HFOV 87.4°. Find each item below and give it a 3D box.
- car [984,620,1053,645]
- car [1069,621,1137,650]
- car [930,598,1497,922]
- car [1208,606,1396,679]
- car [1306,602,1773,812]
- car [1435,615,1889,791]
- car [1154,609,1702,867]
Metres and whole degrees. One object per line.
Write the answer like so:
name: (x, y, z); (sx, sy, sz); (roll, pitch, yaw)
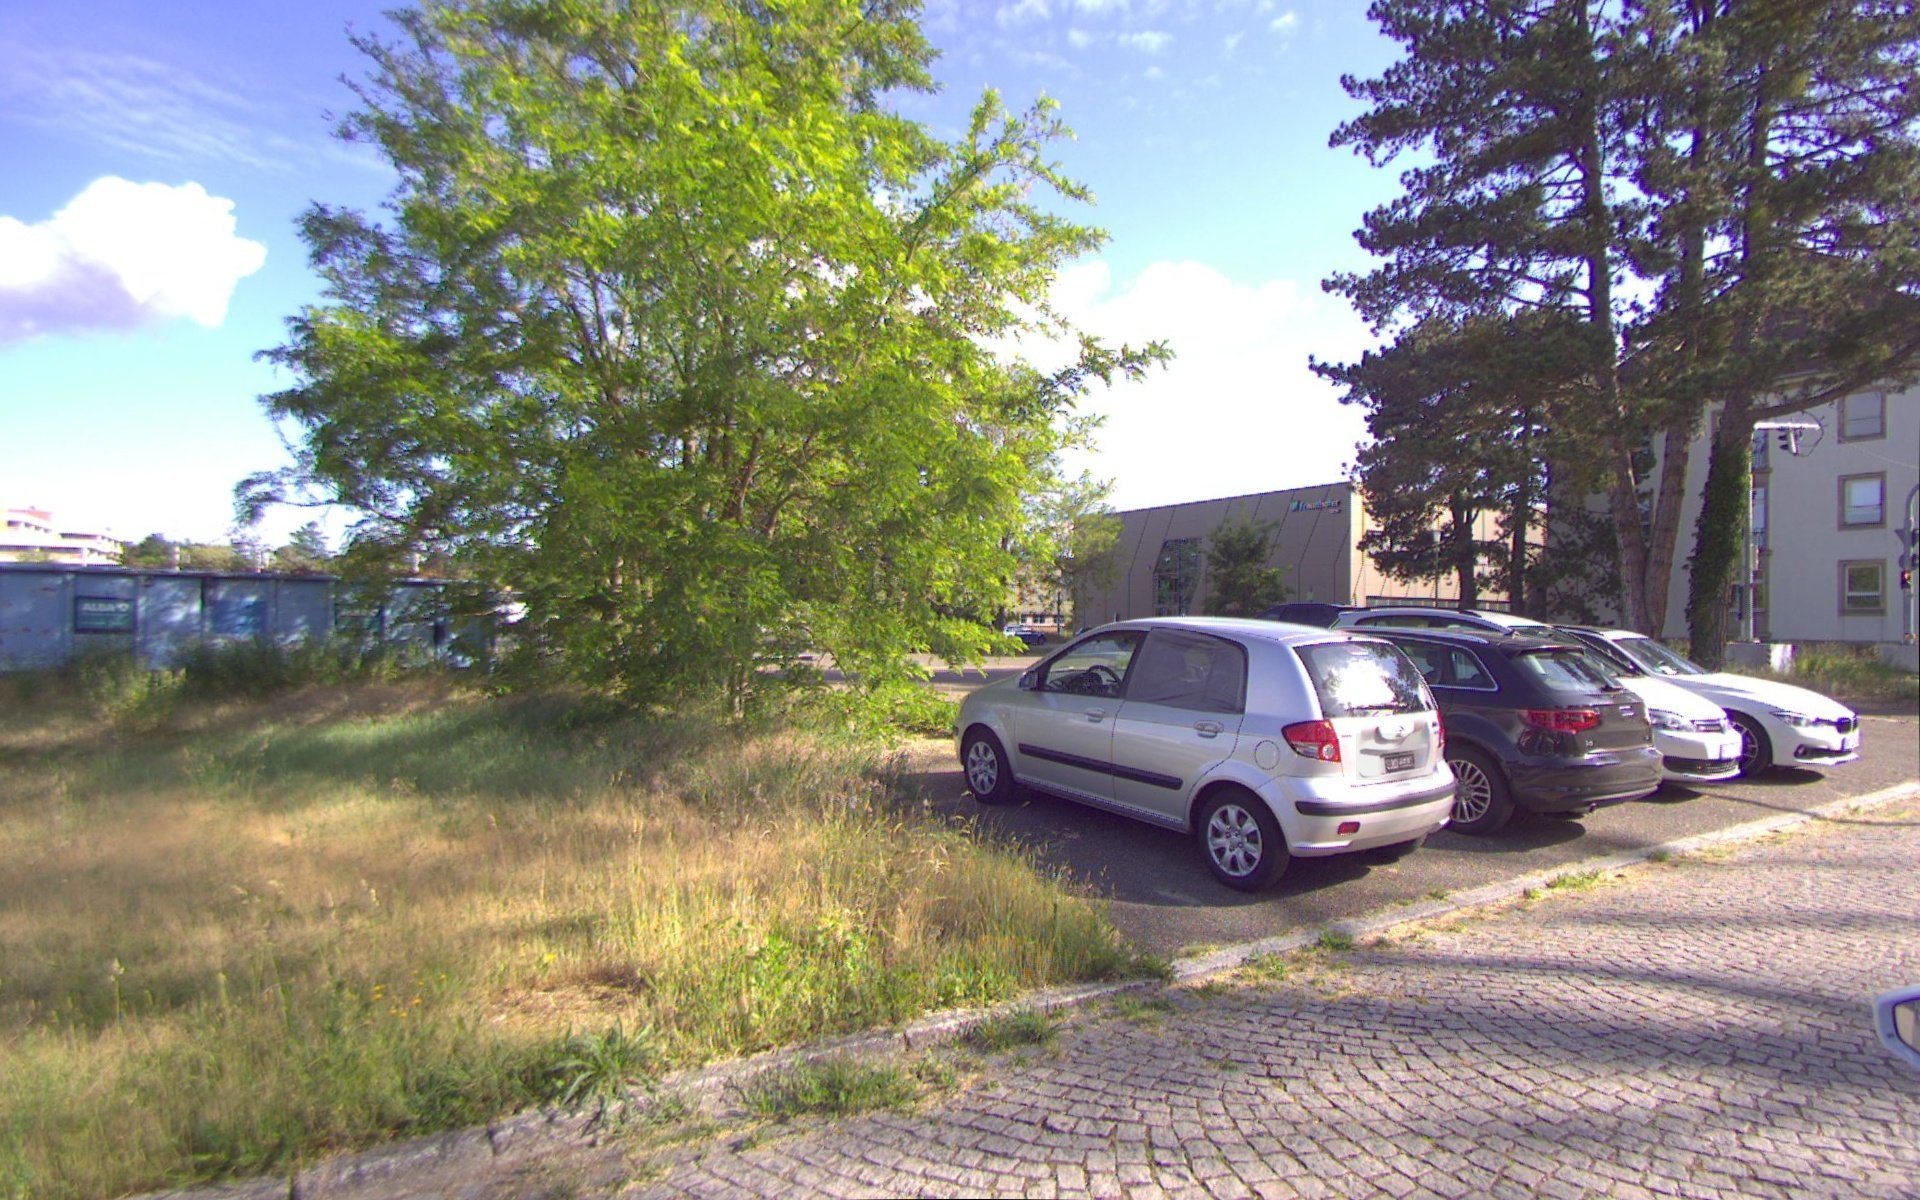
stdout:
car: (4.153, 2.273, 70.952); (4.505, 1.725, 1.984); (1, -1, -30)
car: (8.981, 2.218, 63.178); (3.956, 1.802, 1.856); (1, -1, -30)
car: (1.495, 0.823, 7.084); (1.682, 1.548, 3.661); (1, 1, -34)
car: (8.333, 0.999, 24.819); (1.987, 1.630, 4.123); (1, -1, -31)
car: (5.741, 0.908, 10.431); (1.643, 1.637, 3.856); (1, 1, -33)
car: (7.876, 1.019, 11.711); (1.750, 1.516, 3.971); (1, 1, -27)
car: (3.667, 0.920, 8.574); (1.673, 1.464, 3.913); (1, 2, -33)
